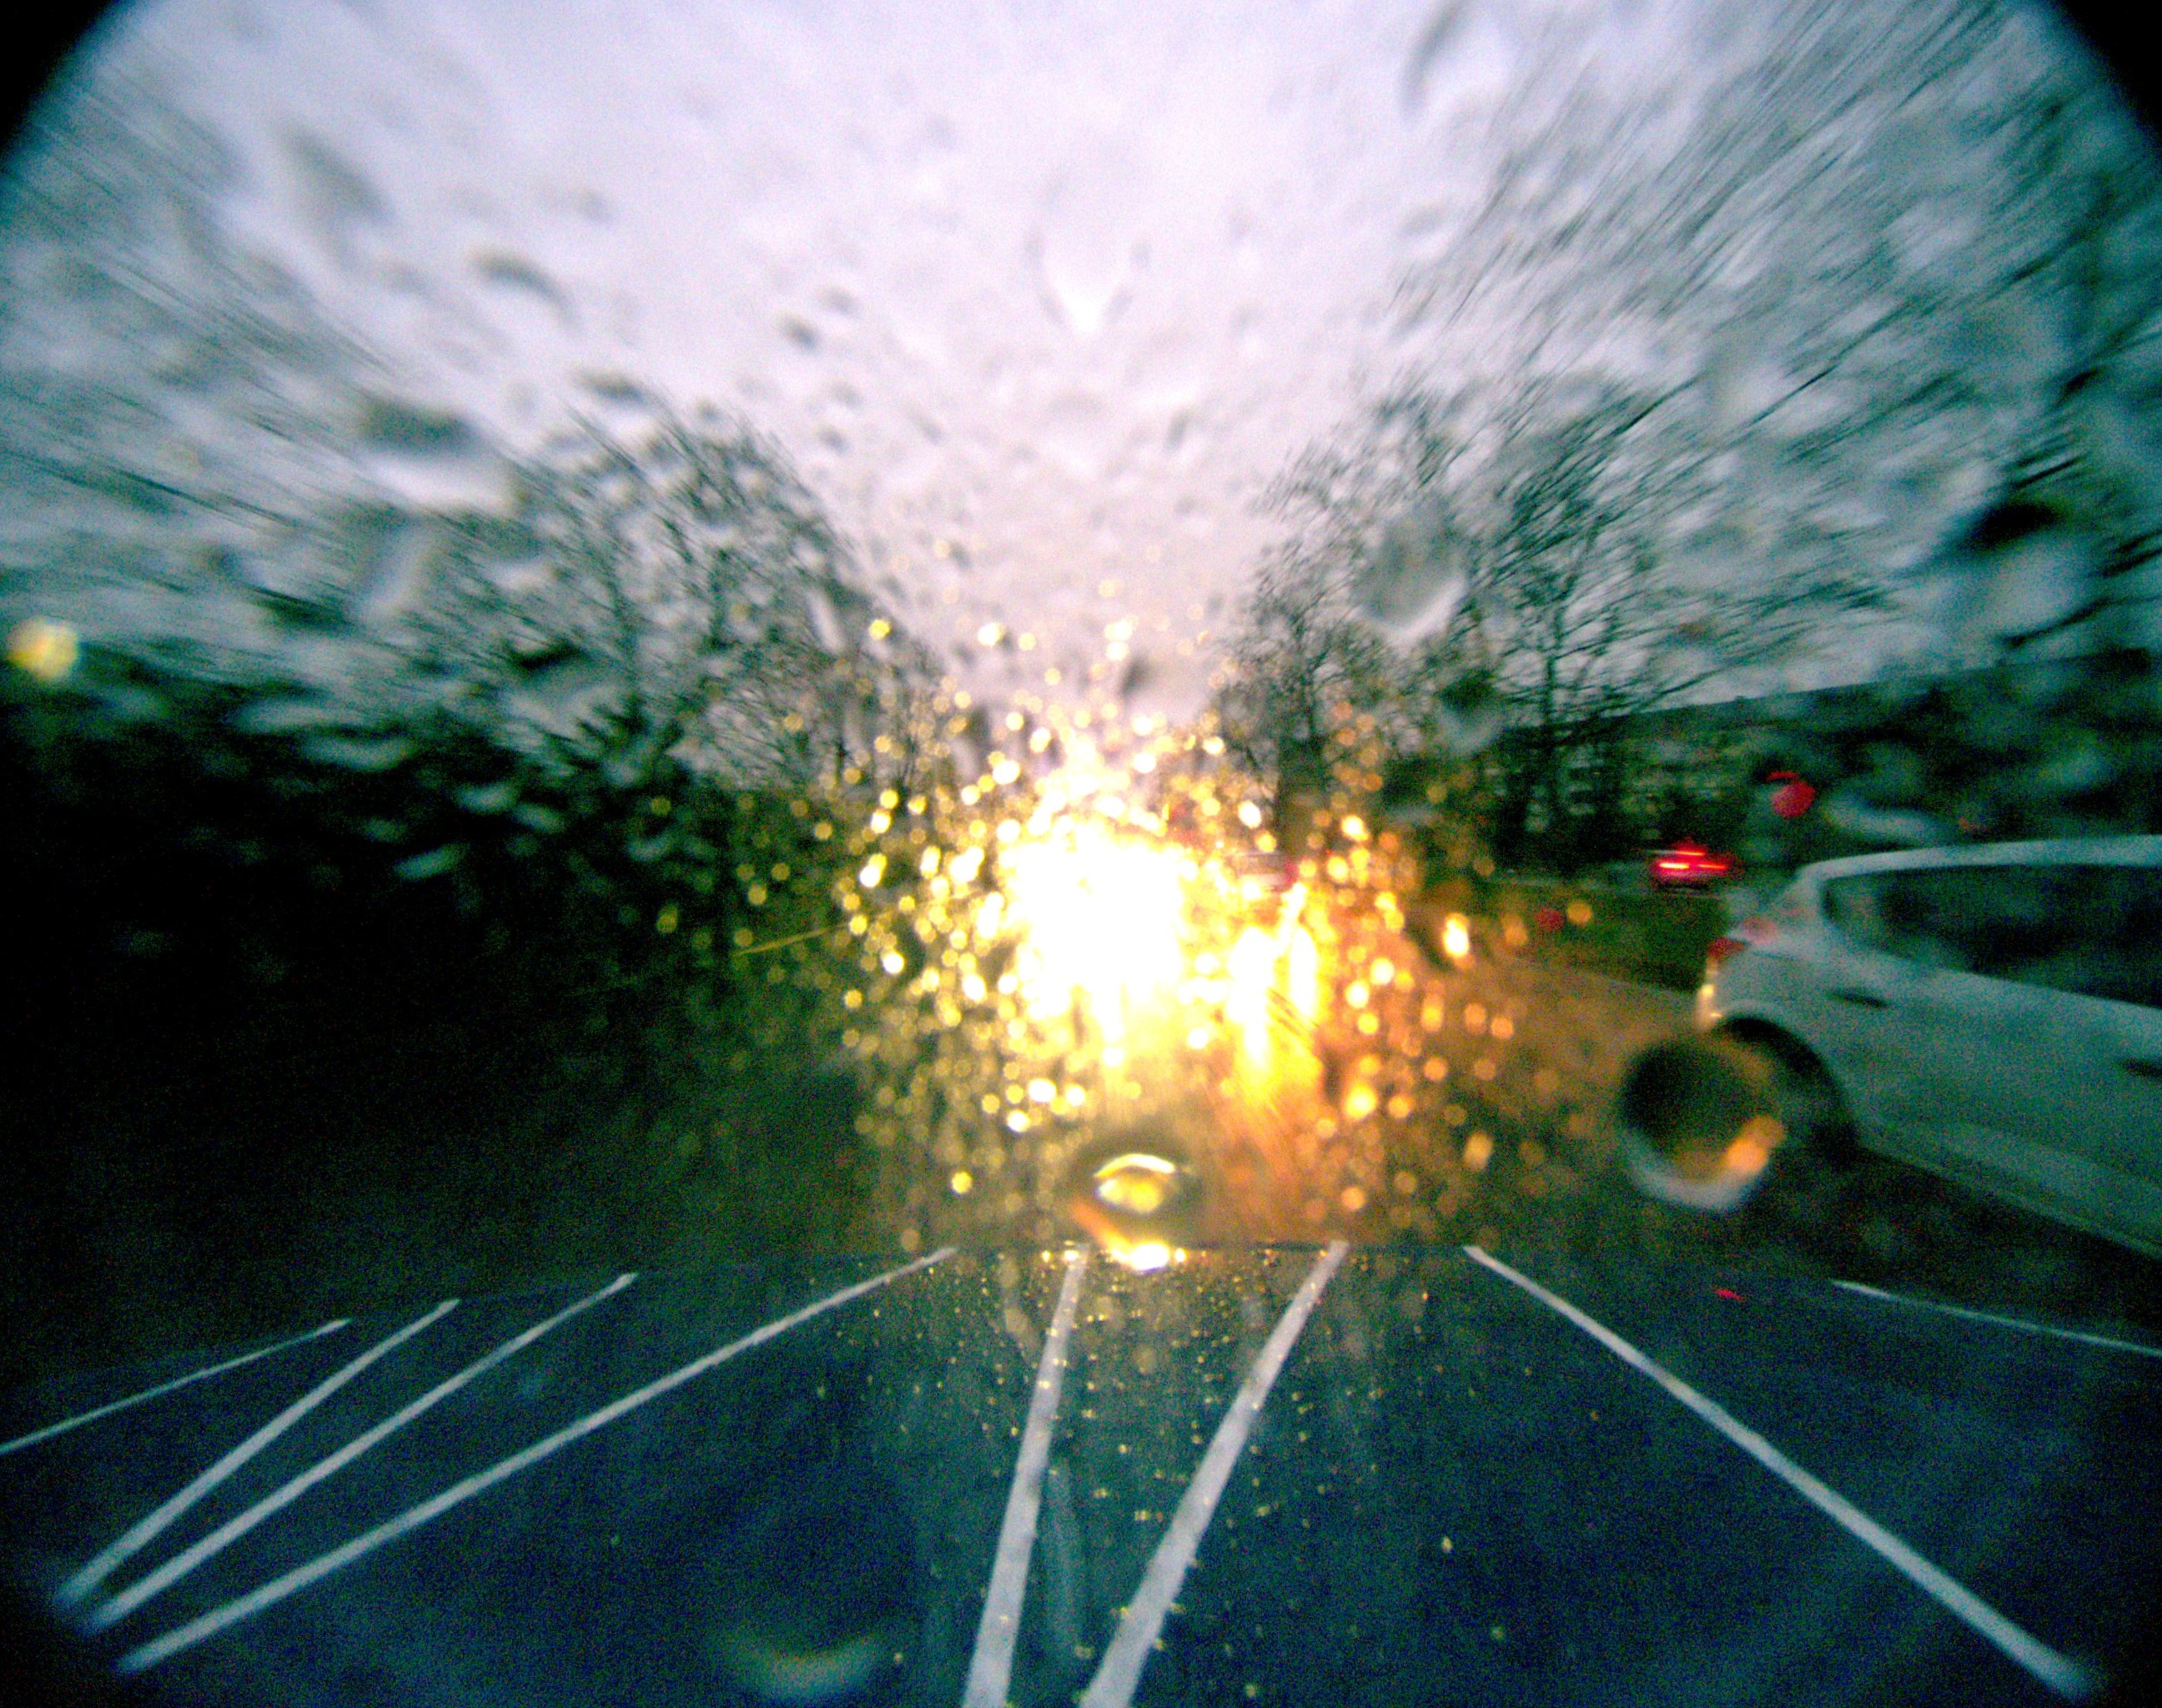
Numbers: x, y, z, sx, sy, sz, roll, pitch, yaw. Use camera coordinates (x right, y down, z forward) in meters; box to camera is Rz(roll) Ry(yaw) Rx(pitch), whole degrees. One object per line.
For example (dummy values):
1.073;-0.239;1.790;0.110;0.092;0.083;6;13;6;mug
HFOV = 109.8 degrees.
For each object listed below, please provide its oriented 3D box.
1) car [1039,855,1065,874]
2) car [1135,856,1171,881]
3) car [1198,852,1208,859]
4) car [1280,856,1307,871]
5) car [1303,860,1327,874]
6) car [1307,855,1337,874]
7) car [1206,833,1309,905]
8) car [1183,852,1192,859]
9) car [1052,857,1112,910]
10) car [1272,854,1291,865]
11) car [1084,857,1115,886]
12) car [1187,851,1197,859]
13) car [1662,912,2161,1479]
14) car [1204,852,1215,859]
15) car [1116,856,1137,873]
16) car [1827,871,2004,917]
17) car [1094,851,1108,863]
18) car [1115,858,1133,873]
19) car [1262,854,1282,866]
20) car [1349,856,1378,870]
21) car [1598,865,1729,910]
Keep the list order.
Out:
-2.260;0.805;60.089;1.728;1.426;3.791;0;1;2;car
4.748;0.913;50.367;2.026;1.521;4.145;0;1;1;car
26.335;0.318;163.955;1.541;1.285;4.000;0;1;2;car
23.095;1.037;82.710;1.788;1.524;4.378;0;1;2;car
26.715;1.447;86.828;1.636;1.459;3.791;0;1;2;car
22.197;0.982;70.036;1.621;1.672;3.981;0;0;2;car
4.284;0.318;19.036;1.765;1.590;4.165;0;1;3;car
21.798;0.282;155.823;1.459;1.190;4.000;-1;1;1;car
0.085;0.895;25.039;1.830;1.524;4.000;0;1;2;car
28.778;0.822;109.033;1.722;1.480;4.272;0;1;2;car
1.122;1.001;44.950;1.728;1.573;3.791;0;1;3;car
21.904;0.153;150.090;1.573;1.494;4.000;-1;1;2;car
3.851;1.017;1.849;1.728;1.432;4.226;0;0;2;car
25.366;0.258;149.712;1.541;1.304;4.000;0;1;2;car
4.010;0.908;67.669;1.697;1.327;4.000;-1;1;1;car
27.891;1.279;25.631;1.582;1.294;4.104;0;1;3;car
2.907;0.430;110.918;1.852;1.610;3.951;-1;1;1;car
4.729;1.247;84.829;1.852;1.610;3.951;-1;1;1;car
23.644;0.753;94.253;1.653;1.346;3.956;0;1;2;car
30.030;0.914;80.786;1.752;1.387;4.301;0;1;5;car
20.963;1.159;27.559;1.753;1.417;3.978;0;1;2;car
